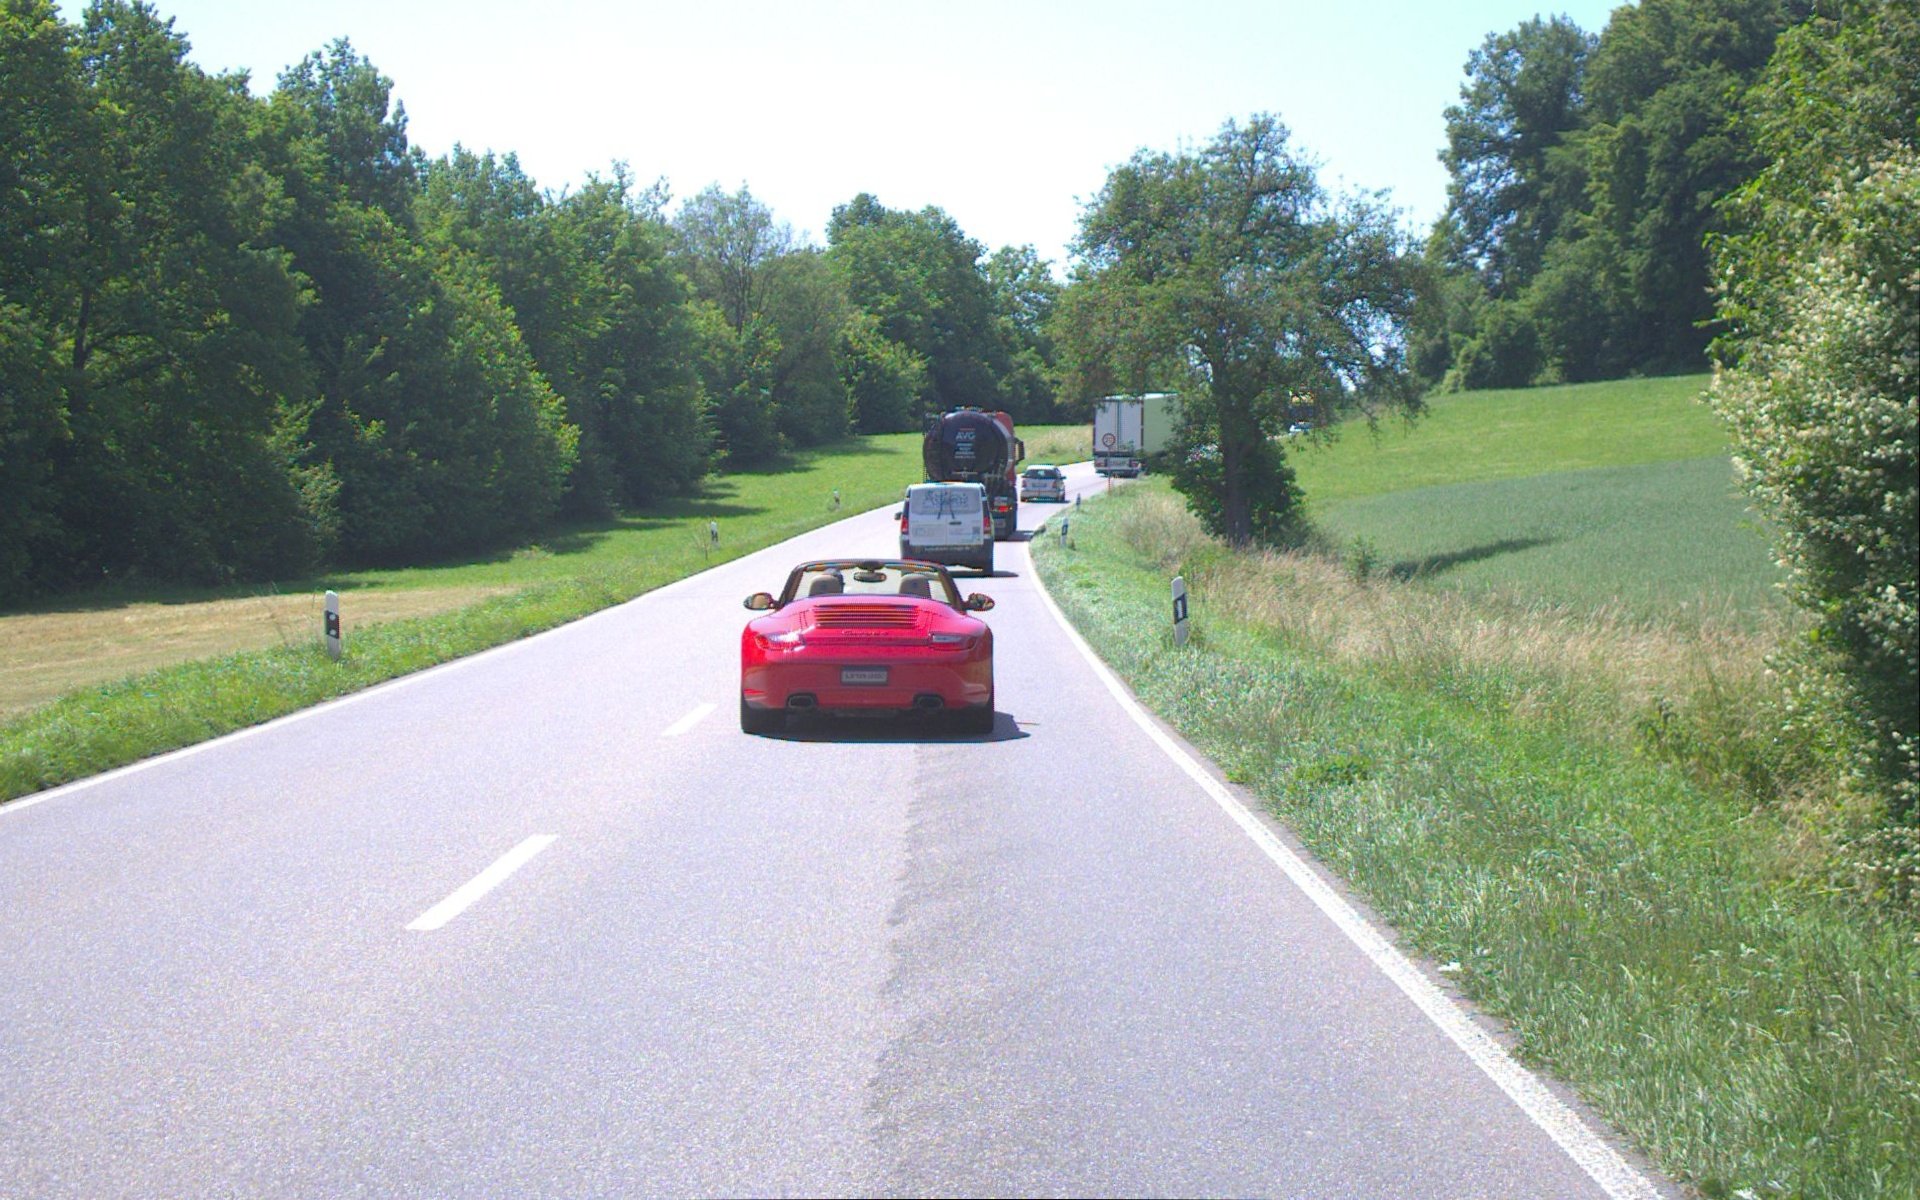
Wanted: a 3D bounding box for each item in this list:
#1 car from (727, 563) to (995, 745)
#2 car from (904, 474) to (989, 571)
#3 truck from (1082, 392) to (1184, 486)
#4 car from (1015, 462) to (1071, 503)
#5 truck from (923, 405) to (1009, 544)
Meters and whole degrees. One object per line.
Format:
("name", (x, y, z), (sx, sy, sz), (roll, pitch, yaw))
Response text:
("car", (-0.706, 0.357, 26.217), (1.882, 1.251, 4.010), (0, 1, 0))
("car", (-0.274, -1.627, 70.728), (1.678, 1.894, 4.010), (0, 3, 0))
("truck", (9.179, -8.549, 180.824), (3.727, 4.643, 12.028), (0, 4, 11))
("car", (3.539, -5.005, 146.340), (1.831, 1.508, 4.190), (-2, 4, 9))
("truck", (0.117, -3.856, 106.790), (2.404, 4.035, 12.552), (0, 2, -1))
